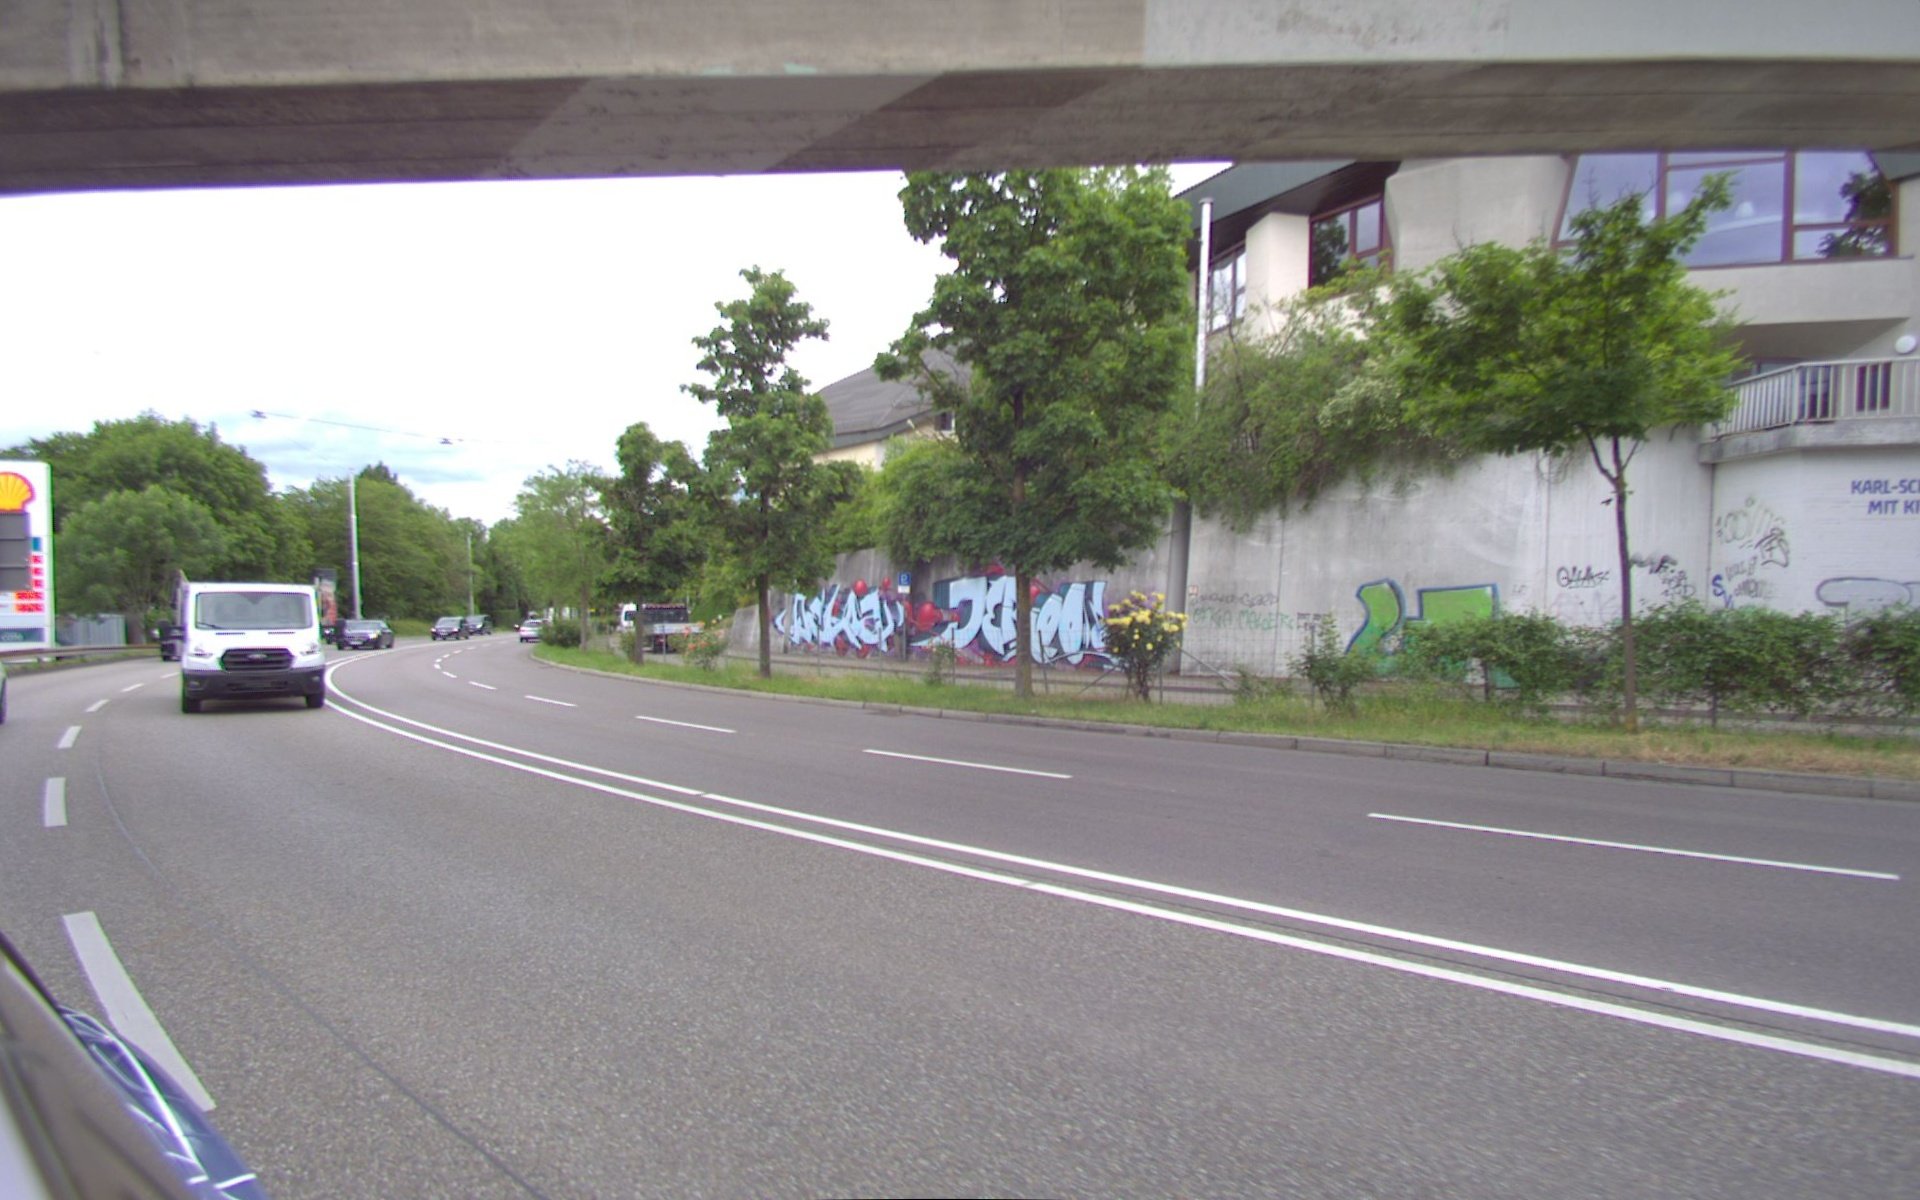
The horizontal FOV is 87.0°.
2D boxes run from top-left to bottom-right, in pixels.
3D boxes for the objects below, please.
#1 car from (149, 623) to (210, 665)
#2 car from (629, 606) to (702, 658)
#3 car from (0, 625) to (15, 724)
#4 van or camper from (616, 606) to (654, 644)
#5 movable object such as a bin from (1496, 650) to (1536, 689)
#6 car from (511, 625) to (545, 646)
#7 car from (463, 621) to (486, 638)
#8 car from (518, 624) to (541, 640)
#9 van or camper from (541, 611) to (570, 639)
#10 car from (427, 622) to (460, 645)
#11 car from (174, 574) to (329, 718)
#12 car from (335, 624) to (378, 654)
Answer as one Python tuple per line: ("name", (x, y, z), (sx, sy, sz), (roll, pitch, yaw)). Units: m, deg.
("car", (-28.943, 1.605, 37.588), (1.707, 1.421, 4.008), (0, -1, -37))
("car", (-14.133, 1.484, 48.297), (2.235, 2.290, 6.347), (1, -1, -26))
("car", (-13.389, 1.019, 12.657), (1.793, 1.357, 4.009), (2, -1, -36))
("van or camper", (-22.241, 1.715, 69.465), (1.967, 2.492, 5.724), (0, -1, -12))
("movable object such as a bin", (10.460, 1.303, 19.050), (0.578, 0.645, 0.555), (-4, 2, 25))
("car", (-29.417, 2.405, 68.925), (1.679, 1.419, 3.820), (1, -2, -30))
("car", (-44.599, 2.717, 92.934), (1.701, 1.489, 4.013), (-1, -1, -23))
("car", (-39.251, 2.936, 92.351), (1.711, 1.425, 4.443), (1, -2, -20))
("van or camper", (-34.004, 2.139, 85.213), (1.980, 2.278, 5.981), (1, -2, -20))
("car", (-36.902, 2.362, 72.346), (1.701, 1.489, 4.013), (-1, -1, -22))
("car", (-13.119, 0.796, 18.541), (1.968, 2.190, 6.280), (1, -2, -38))
("car", (-30.447, 1.952, 51.151), (1.708, 1.422, 4.012), (-1, -1, -29))
